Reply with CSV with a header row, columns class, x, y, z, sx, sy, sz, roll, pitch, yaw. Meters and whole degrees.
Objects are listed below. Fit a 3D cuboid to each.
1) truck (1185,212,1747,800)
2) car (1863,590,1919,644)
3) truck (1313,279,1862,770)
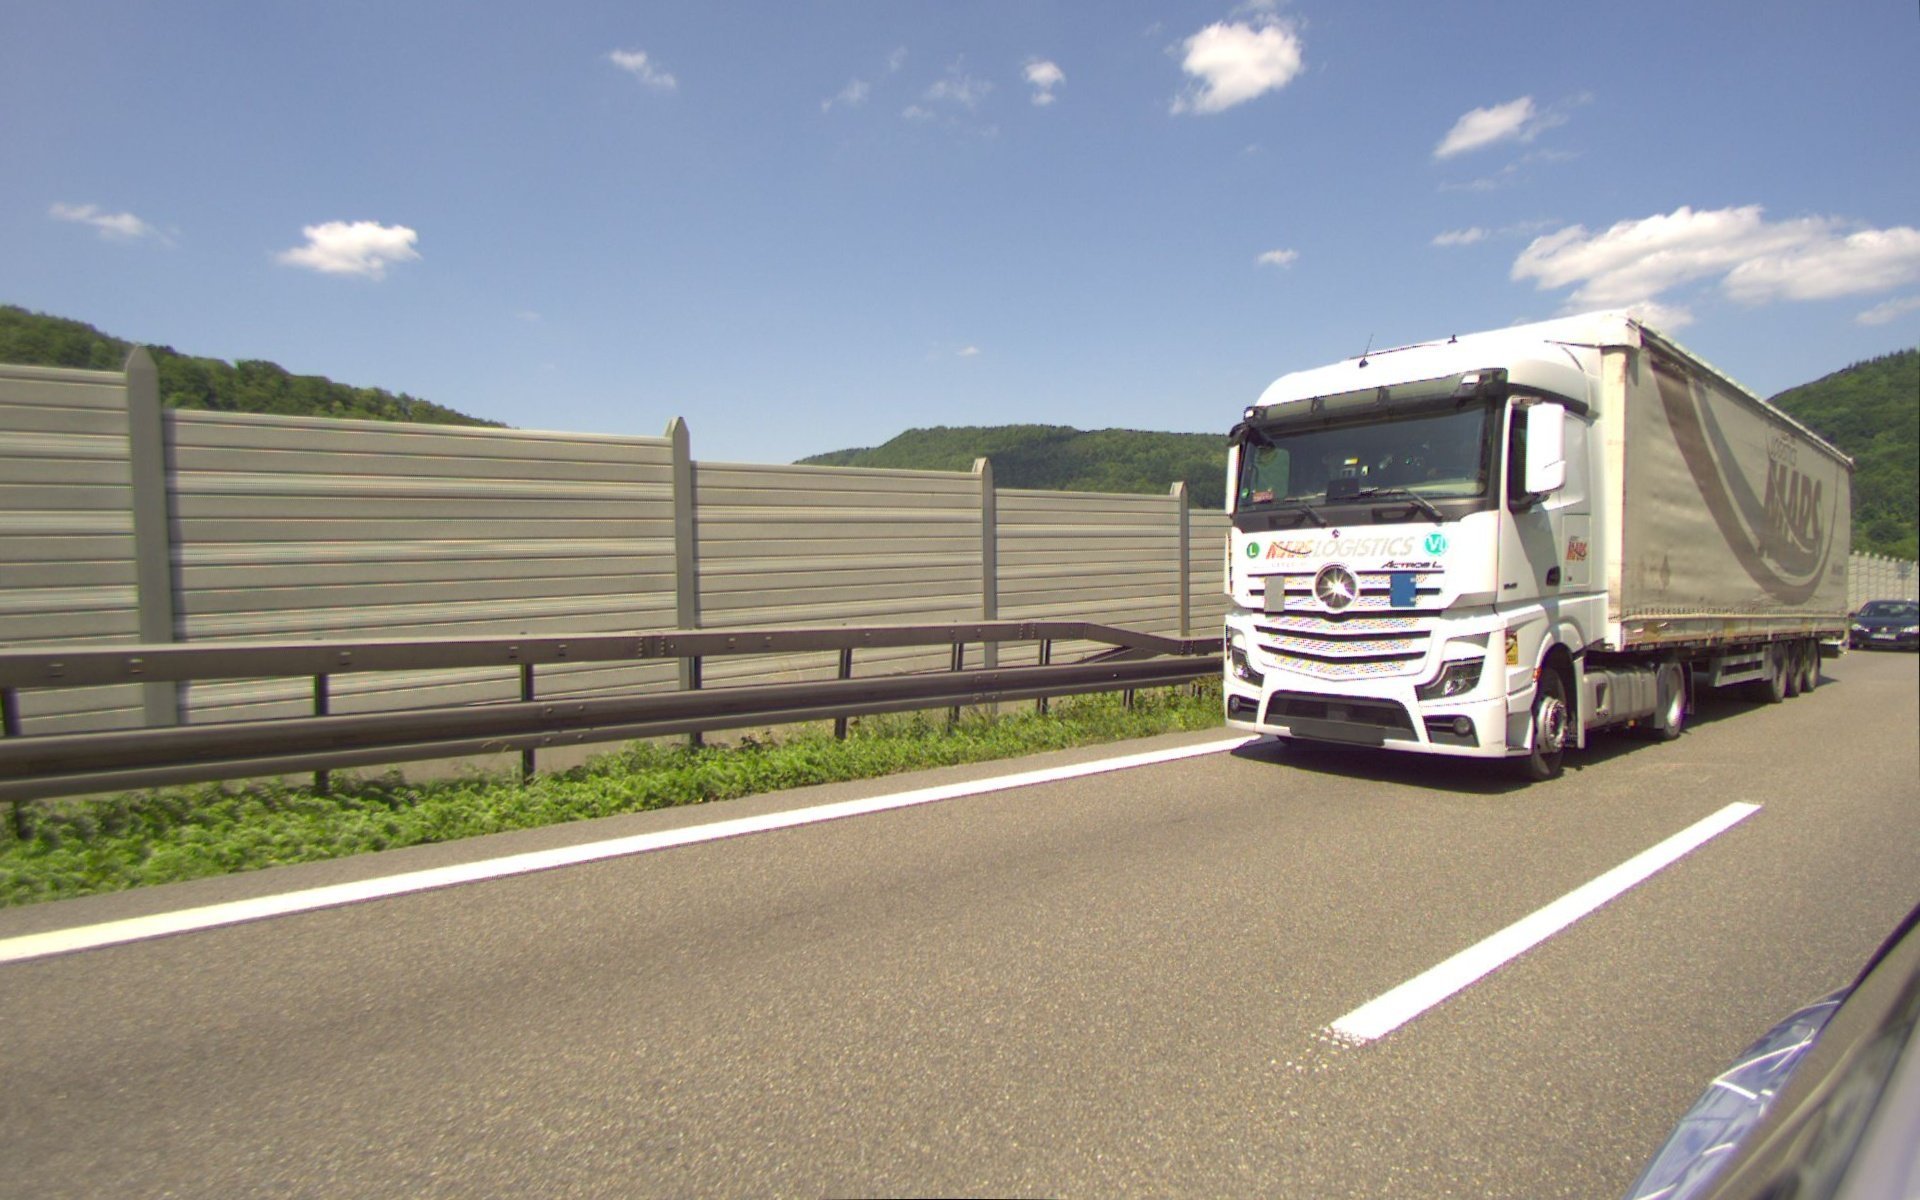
class,x,y,z,sx,sy,sz,roll,pitch,yaw
truck,5.462,-0.708,10.296,6.704,4.089,2.762,-1,1,-41
car,27.476,0.474,29.200,3.414,1.430,1.661,-1,3,-41
truck,9.202,-0.747,13.636,11.837,4.199,2.860,-1,2,-41
